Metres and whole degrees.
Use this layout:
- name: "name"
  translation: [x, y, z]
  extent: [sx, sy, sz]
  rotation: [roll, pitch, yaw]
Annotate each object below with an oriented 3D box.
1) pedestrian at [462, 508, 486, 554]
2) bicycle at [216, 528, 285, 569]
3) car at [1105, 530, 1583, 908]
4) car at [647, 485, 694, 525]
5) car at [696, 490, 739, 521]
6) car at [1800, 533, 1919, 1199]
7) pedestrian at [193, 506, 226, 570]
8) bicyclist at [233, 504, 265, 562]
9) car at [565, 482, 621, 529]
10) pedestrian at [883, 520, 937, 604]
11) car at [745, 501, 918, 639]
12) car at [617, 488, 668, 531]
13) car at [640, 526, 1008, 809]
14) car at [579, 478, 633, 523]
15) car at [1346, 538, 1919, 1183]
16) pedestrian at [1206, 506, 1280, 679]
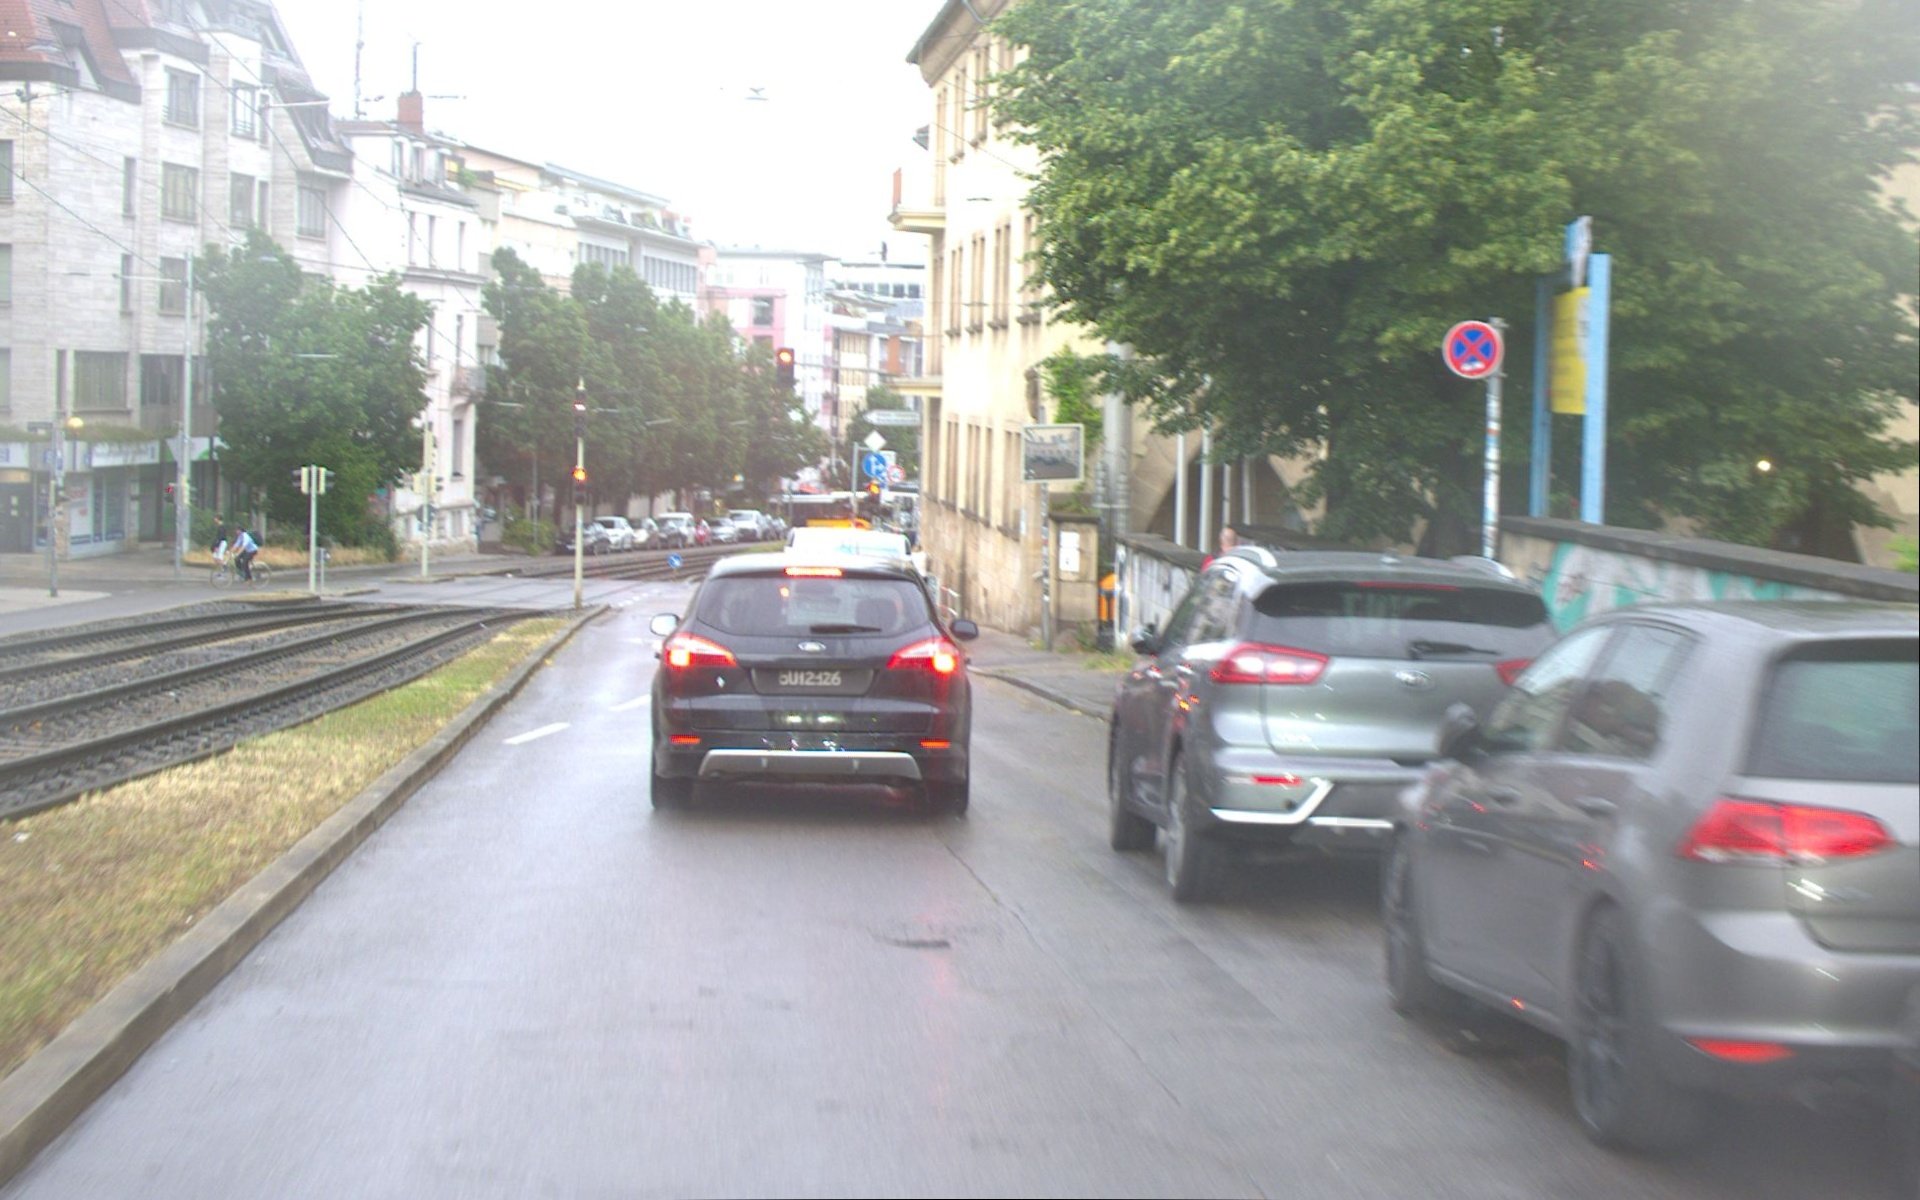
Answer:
- name: "pedestrian"
  translation: [-21.342, -3.021, 150.987]
  extent: [0.941, 2.007, 0.765]
  rotation: [1, 1, -14]
- name: "bicycle"
  translation: [-19.340, -1.397, 93.703]
  extent: [1.797, 1.060, 0.457]
  rotation: [1, 2, -39]
- name: "car"
  translation: [1.650, 0.440, 16.016]
  extent: [1.665, 1.519, 4.109]
  rotation: [0, 1, -1]
- name: "car"
  translation: [-14.782, -4.849, 175.718]
  extent: [1.993, 2.007, 4.000]
  rotation: [1, 1, 0]
- name: "car"
  translation: [-13.324, -5.177, 188.936]
  extent: [1.993, 1.656, 4.000]
  rotation: [1, 1, 0]
- name: "car"
  translation: [2.526, 0.653, 4.489]
  extent: [1.665, 1.471, 4.458]
  rotation: [0, 1, -1]
- name: "pedestrian"
  translation: [-22.783, -1.893, 104.380]
  extent: [0.904, 1.925, 0.825]
  rotation: [1, 1, -8]
- name: "bicyclist"
  translation: [-19.368, -1.828, 93.661]
  extent: [0.700, 1.568, 0.462]
  rotation: [1, 1, -39]
- name: "car"
  translation: [-16.236, -4.192, 152.092]
  extent: [1.993, 2.007, 4.000]
  rotation: [1, 1, 0]
- name: "pedestrian"
  translation: [-1.085, -0.825, 74.586]
  extent: [1.045, 1.789, 0.902]
  rotation: [1, 1, -6]
- name: "car"
  translation: [-1.667, -0.446, 46.049]
  extent: [2.137, 1.739, 4.218]
  rotation: [0, 2, 0]
- name: "car"
  translation: [-15.208, -4.333, 164.774]
  extent: [1.993, 2.007, 4.000]
  rotation: [1, 1, 0]
- name: "car"
  translation: [-0.913, 0.325, 20.534]
  extent: [1.920, 1.474, 4.001]
  rotation: [0, 2, -6]
- name: "car"
  translation: [-16.300, -4.586, 158.392]
  extent: [1.993, 2.007, 4.000]
  rotation: [1, 1, 0]
- name: "car"
  translation: [2.334, 0.567, 10.065]
  extent: [1.665, 1.471, 4.110]
  rotation: [0, 1, -4]
- name: "pedestrian"
  translation: [2.838, -0.076, 34.562]
  extent: [0.632, 1.715, 0.711]
  rotation: [1, 1, -3]
